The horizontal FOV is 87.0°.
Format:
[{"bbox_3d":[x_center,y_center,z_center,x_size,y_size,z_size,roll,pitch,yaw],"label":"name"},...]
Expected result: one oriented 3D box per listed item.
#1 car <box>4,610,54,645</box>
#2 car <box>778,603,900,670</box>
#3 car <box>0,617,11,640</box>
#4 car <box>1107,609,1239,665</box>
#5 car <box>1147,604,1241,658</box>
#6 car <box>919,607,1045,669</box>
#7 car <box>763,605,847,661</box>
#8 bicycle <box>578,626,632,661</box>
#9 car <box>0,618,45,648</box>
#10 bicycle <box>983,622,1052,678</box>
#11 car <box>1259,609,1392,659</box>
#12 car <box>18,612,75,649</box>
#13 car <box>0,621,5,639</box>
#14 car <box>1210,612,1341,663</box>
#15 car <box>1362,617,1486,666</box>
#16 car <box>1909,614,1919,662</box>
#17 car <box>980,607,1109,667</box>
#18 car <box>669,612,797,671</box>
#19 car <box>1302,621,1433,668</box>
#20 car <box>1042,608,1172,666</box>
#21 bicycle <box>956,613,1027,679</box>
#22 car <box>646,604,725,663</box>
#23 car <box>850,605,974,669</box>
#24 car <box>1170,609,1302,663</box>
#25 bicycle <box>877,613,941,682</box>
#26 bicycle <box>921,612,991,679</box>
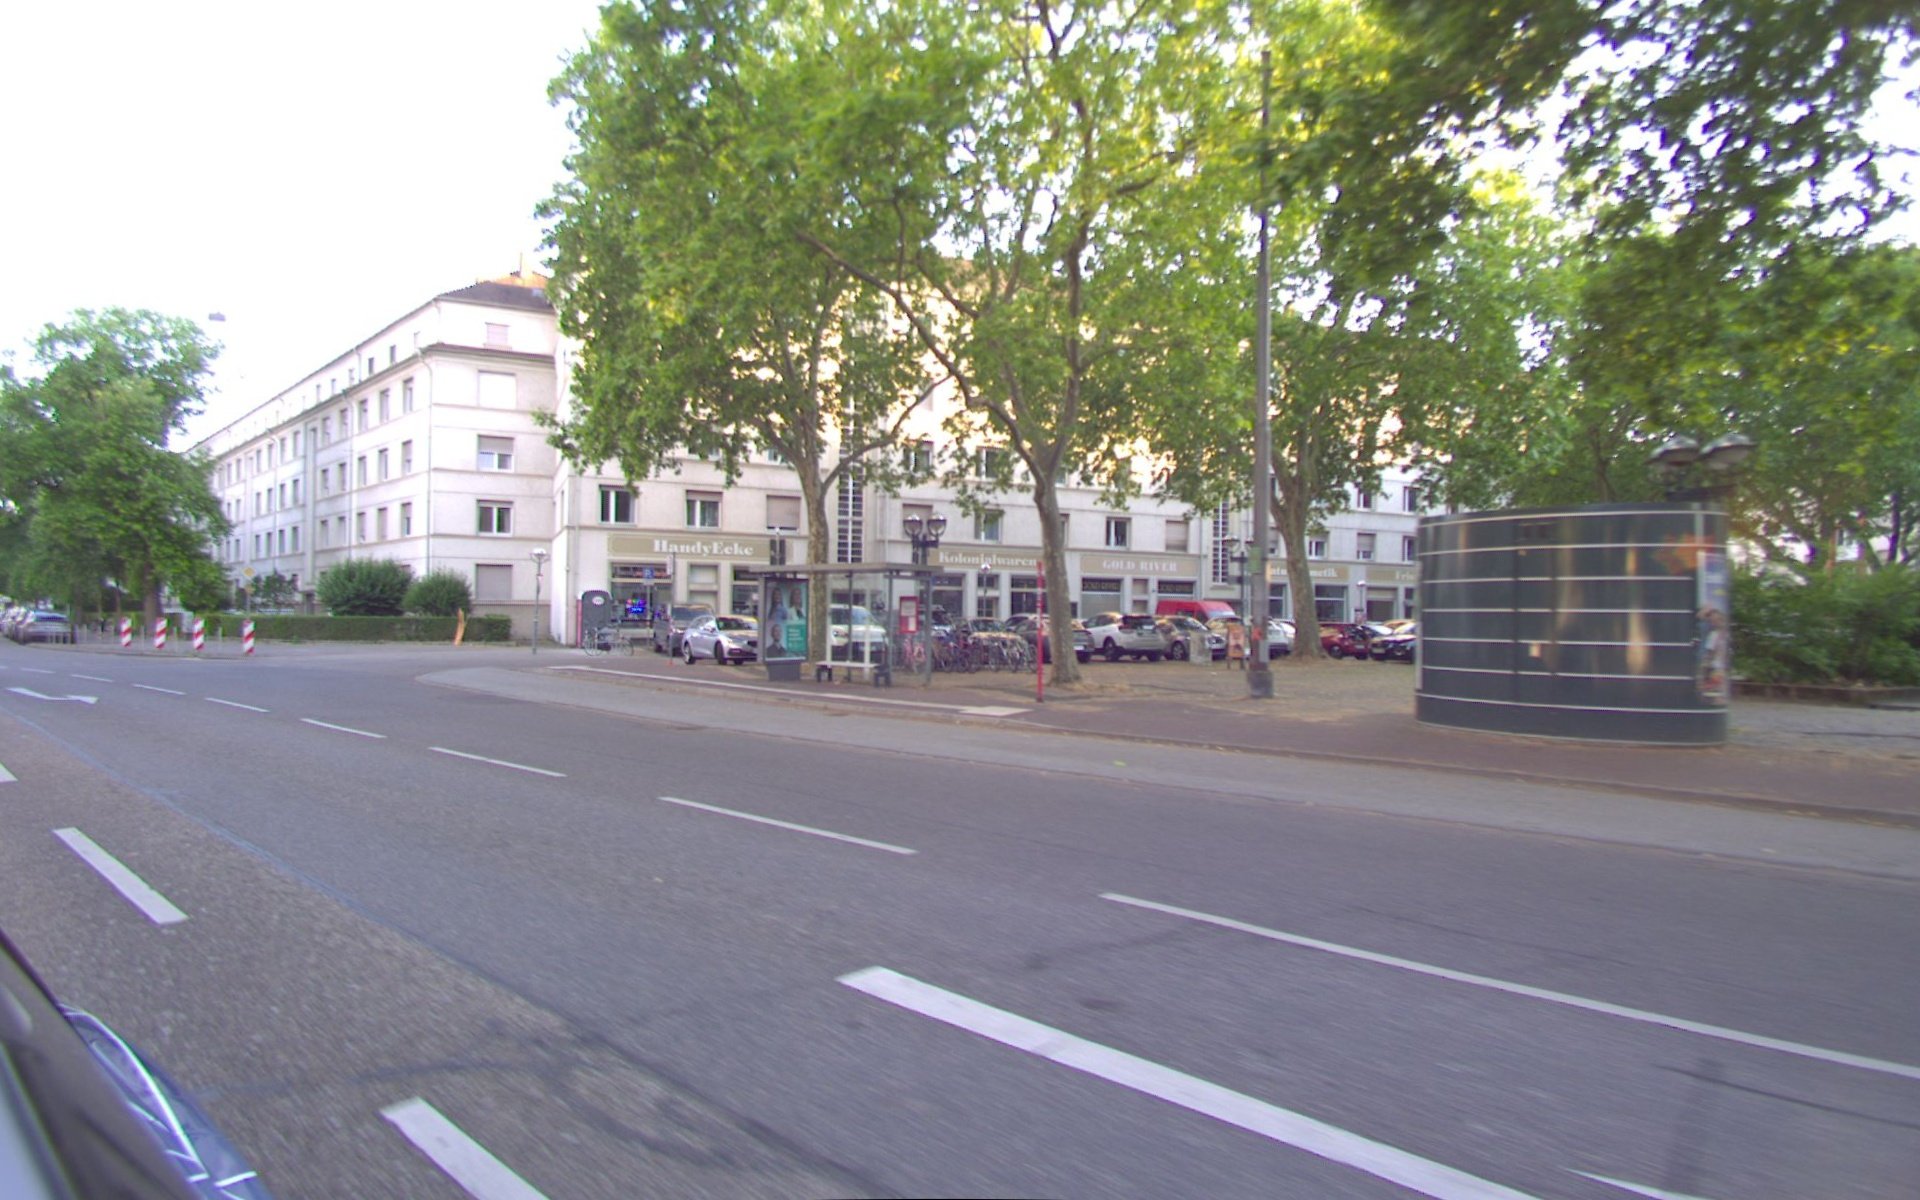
[{"bbox_3d":[-48.799,1.401,53.012,1.866,1.703,4.263,1,0,-44],"label":"car"},{"bbox_3d":[-3.625,1.118,29.638,1.965,1.795,4.655,2,-4,-28],"label":"car"},{"bbox_3d":[-81.236,2.368,85.260,1.866,1.879,4.263,1,0,-44],"label":"car"},{"bbox_3d":[7.301,1.333,35.158,1.965,1.795,4.655,2,-4,-28],"label":"car"},{"bbox_3d":[11.469,1.476,49.930,1.965,2.460,4.656,2,0,-26],"label":"car"},{"bbox_3d":[0.594,1.228,31.964,1.965,1.795,4.655,2,-4,-28],"label":"car"},{"bbox_3d":[-6.251,1.270,40.313,1.965,1.970,4.656,2,0,-26],"label":"car"},{"bbox_3d":[-12.473,1.518,35.608,1.776,1.215,0.649,0,0,-16],"label":"bicycle"},{"bbox_3d":[-53.674,1.850,57.911,1.866,1.612,4.263,1,0,-44],"label":"car"},{"bbox_3d":[1.521,1.317,27.506,0.680,1.394,2.754,0,0,-24],"label":"bicycle"},{"bbox_3d":[13.913,1.346,38.836,1.965,1.795,4.655,2,-4,-28],"label":"car"},{"bbox_3d":[-42.674,1.370,47.244,1.866,1.612,4.004,1,0,-44],"label":"car"},{"bbox_3d":[-88.159,2.722,92.028,1.866,1.612,4.263,1,0,-44],"label":"car"},{"bbox_3d":[11.737,1.447,38.041,1.965,1.795,4.655,2,-4,-28],"label":"car"},{"bbox_3d":[15.440,1.387,33.696,3.696,1.540,1.680,1,-1,-23],"label":"car"},{"bbox_3d":[40.727,1.474,39.706,1.965,1.953,4.655,2,-4,-28],"label":"car"},{"bbox_3d":[2.657,1.261,33.029,1.965,1.795,4.655,2,-4,-28],"label":"car"},{"bbox_3d":[-6.548,1.211,28.793,1.966,1.515,4.652,3,-4,-34],"label":"car"},{"bbox_3d":[16.103,1.812,40.274,1.965,1.748,4.655,2,-4,-28],"label":"car"},{"bbox_3d":[4.842,1.285,33.994,1.965,1.795,4.655,2,-4,-28],"label":"car"},{"bbox_3d":[0.807,1.185,26.999,0.795,1.626,2.754,0,0,-24],"label":"bicycle"},{"bbox_3d":[-10.370,1.204,38.003,1.965,1.970,4.656,2,0,-26],"label":"car"},{"bbox_3d":[-1.569,1.172,31.078,1.965,1.795,4.655,2,-4,-28],"label":"car"},{"bbox_3d":[9.884,1.355,36.637,1.965,1.795,4.655,2,-4,-28],"label":"car"},{"bbox_3d":[-1.322,1.143,25.574,0.680,1.626,2.754,0,0,-24],"label":"bicycle"},{"bbox_3d":[-0.136,1.152,26.492,0.795,1.626,2.754,0,0,-24],"label":"bicycle"}]
